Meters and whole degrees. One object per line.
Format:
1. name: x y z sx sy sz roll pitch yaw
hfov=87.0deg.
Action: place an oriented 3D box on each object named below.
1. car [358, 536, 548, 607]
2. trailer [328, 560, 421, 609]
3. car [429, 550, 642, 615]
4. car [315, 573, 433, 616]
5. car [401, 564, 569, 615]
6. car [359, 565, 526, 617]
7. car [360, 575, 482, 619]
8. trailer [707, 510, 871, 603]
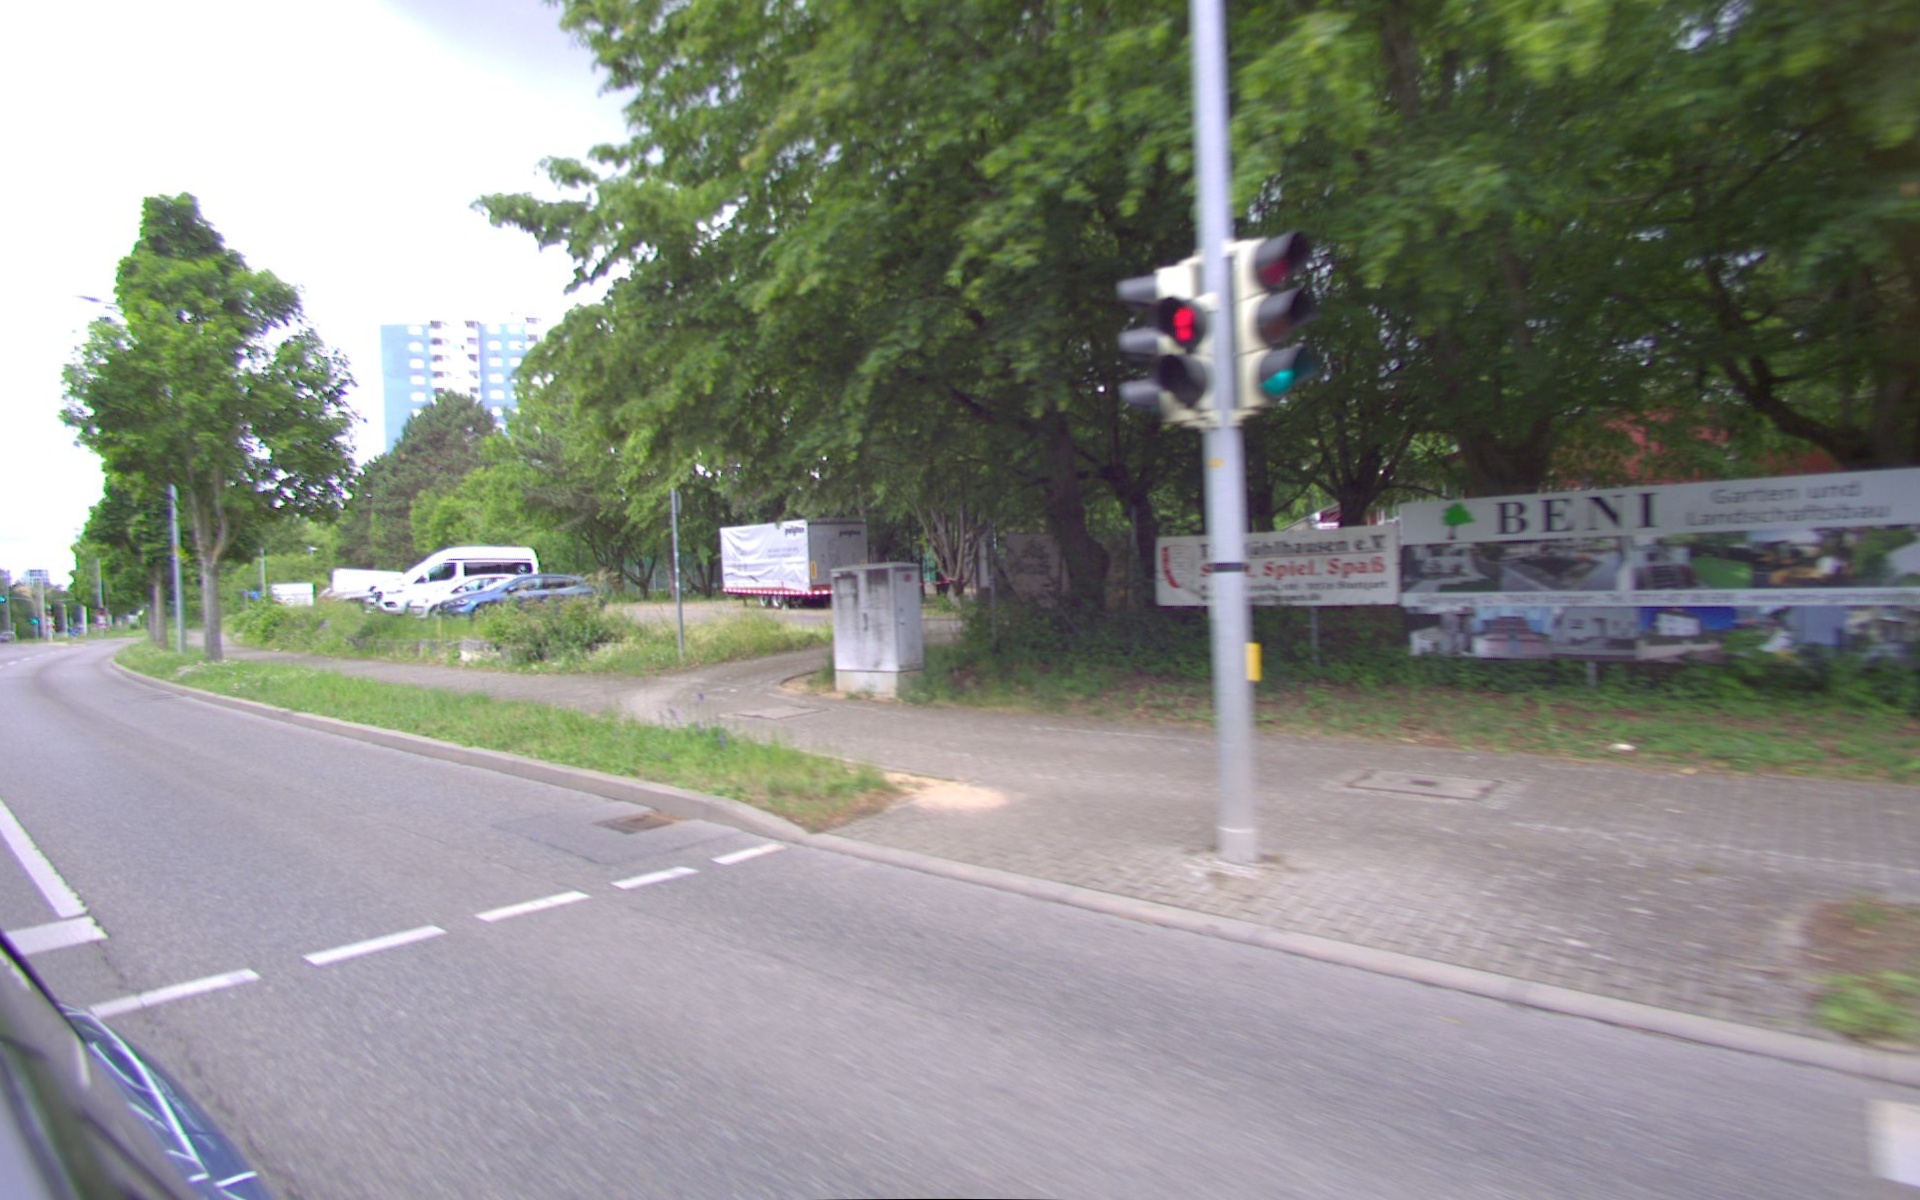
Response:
1. car: -16.464 -0.961 33.051 5.093 2.122 2.217 -3 1 -41
2. trailer: -25.740 -0.696 44.511 3.322 2.073 1.682 -2 0 -37
3. car: -11.700 -0.507 28.132 5.093 1.573 1.888 -3 1 -41
4. car: -24.441 -0.233 42.241 3.982 1.596 2.004 -3 1 -37
5. car: -14.352 -0.336 30.730 4.324 1.326 1.565 -3 1 -41
6. car: -18.225 -0.329 35.743 4.929 1.559 2.102 -3 1 -37
7. car: -21.302 -0.142 40.021 3.982 1.523 1.785 -3 1 -37
8. trailer: -6.501 -1.528 37.570 2.615 3.097 7.207 -3 2 -40
